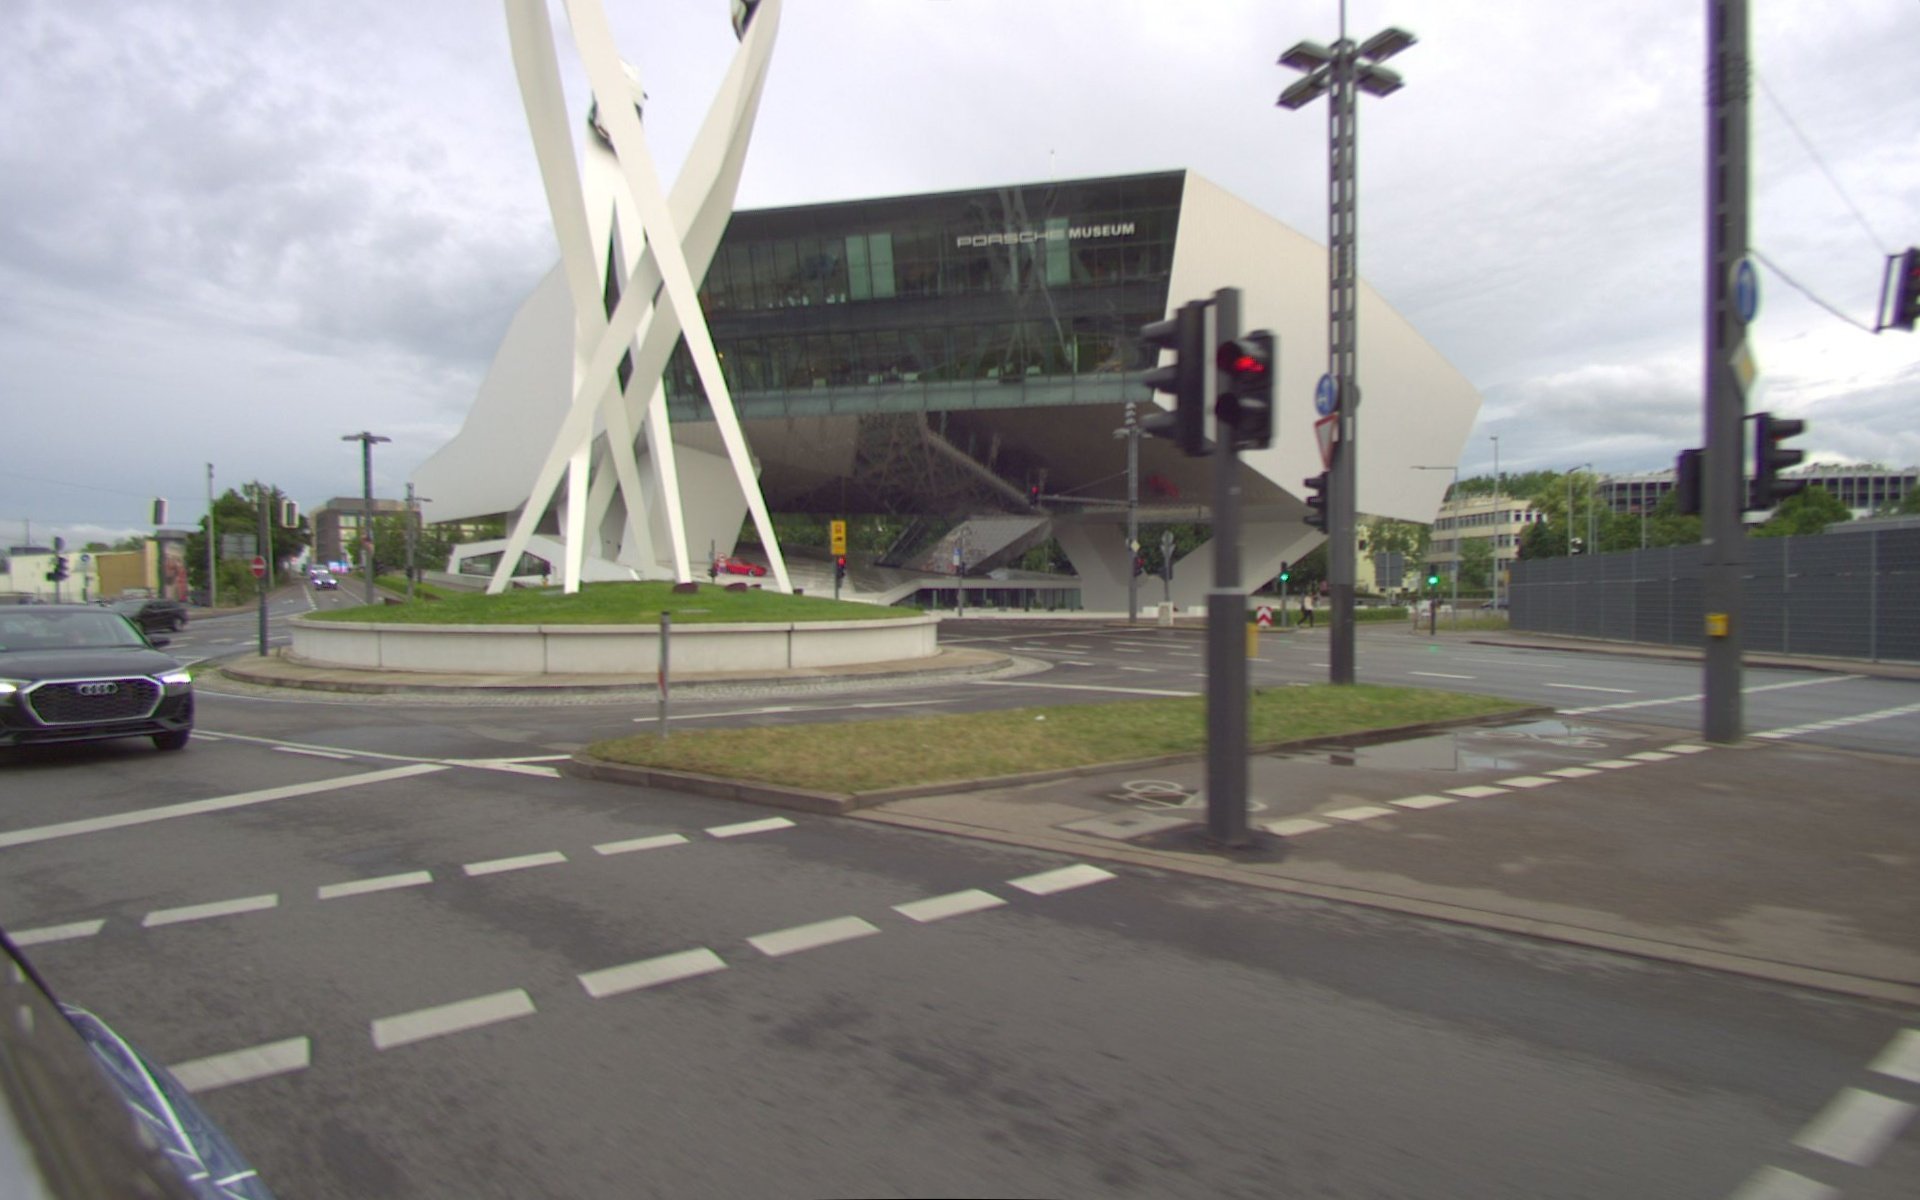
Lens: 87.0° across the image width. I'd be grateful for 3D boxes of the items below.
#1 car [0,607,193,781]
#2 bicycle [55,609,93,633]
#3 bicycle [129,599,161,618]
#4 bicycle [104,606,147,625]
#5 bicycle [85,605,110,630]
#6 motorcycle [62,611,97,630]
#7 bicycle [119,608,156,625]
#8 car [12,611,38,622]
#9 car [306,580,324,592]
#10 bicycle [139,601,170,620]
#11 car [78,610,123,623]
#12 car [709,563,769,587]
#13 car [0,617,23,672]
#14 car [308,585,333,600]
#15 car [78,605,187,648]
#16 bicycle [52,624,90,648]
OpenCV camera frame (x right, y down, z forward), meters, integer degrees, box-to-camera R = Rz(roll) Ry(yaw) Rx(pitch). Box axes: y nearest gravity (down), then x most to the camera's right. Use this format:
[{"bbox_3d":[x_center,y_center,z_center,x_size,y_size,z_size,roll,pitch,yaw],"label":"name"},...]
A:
[{"bbox_3d":[-9.912,0.867,10.778,4.389,1.529,1.735,-1,0,38],"label":"car"},{"bbox_3d":[-44.806,1.058,51.201,0.343,1.092,1.744,0,2,1],"label":"bicycle"},{"bbox_3d":[-51.315,0.550,63.722,1.520,1.163,0.452,1,2,-37],"label":"bicycle"},{"bbox_3d":[-45.532,0.854,55.220,1.715,0.969,0.423,-1,2,-24],"label":"bicycle"},{"bbox_3d":[-45.733,0.915,53.671,0.393,1.184,2.022,-1,3,-23],"label":"bicycle"},{"bbox_3d":[-46.411,1.070,53.362,0.539,0.902,1.748,0,2,-9],"label":"motorcycle"},{"bbox_3d":[-46.901,0.911,57.724,1.588,0.928,0.423,-1,1,-20],"label":"bicycle"},{"bbox_3d":[-130.603,2.275,141.376,3.989,1.436,1.701,-1,1,34],"label":"car"},{"bbox_3d":[-89.430,-1.919,140.346,1.789,1.449,4.311,0,-1,-38],"label":"car"},{"bbox_3d":[-49.876,0.640,62.638,0.441,1.082,1.449,3,2,27],"label":"bicycle"},{"bbox_3d":[-103.888,2.025,122.380,1.721,1.436,3.943,-1,1,43],"label":"car"},{"bbox_3d":[-17.656,-2.003,80.921,4.202,1.394,1.993,7,2,11],"label":"car"},{"bbox_3d":[-26.340,1.206,26.430,1.787,1.449,4.315,0,0,-30],"label":"car"},{"bbox_3d":[-65.149,-0.757,103.066,1.789,1.449,4.311,0,-1,-38],"label":"car"},{"bbox_3d":[-34.661,1.075,42.539,1.721,1.485,4.078,-1,3,-10],"label":"car"},{"bbox_3d":[-45.458,1.823,51.769,0.343,1.092,1.744,0,2,1],"label":"bicycle"}]
